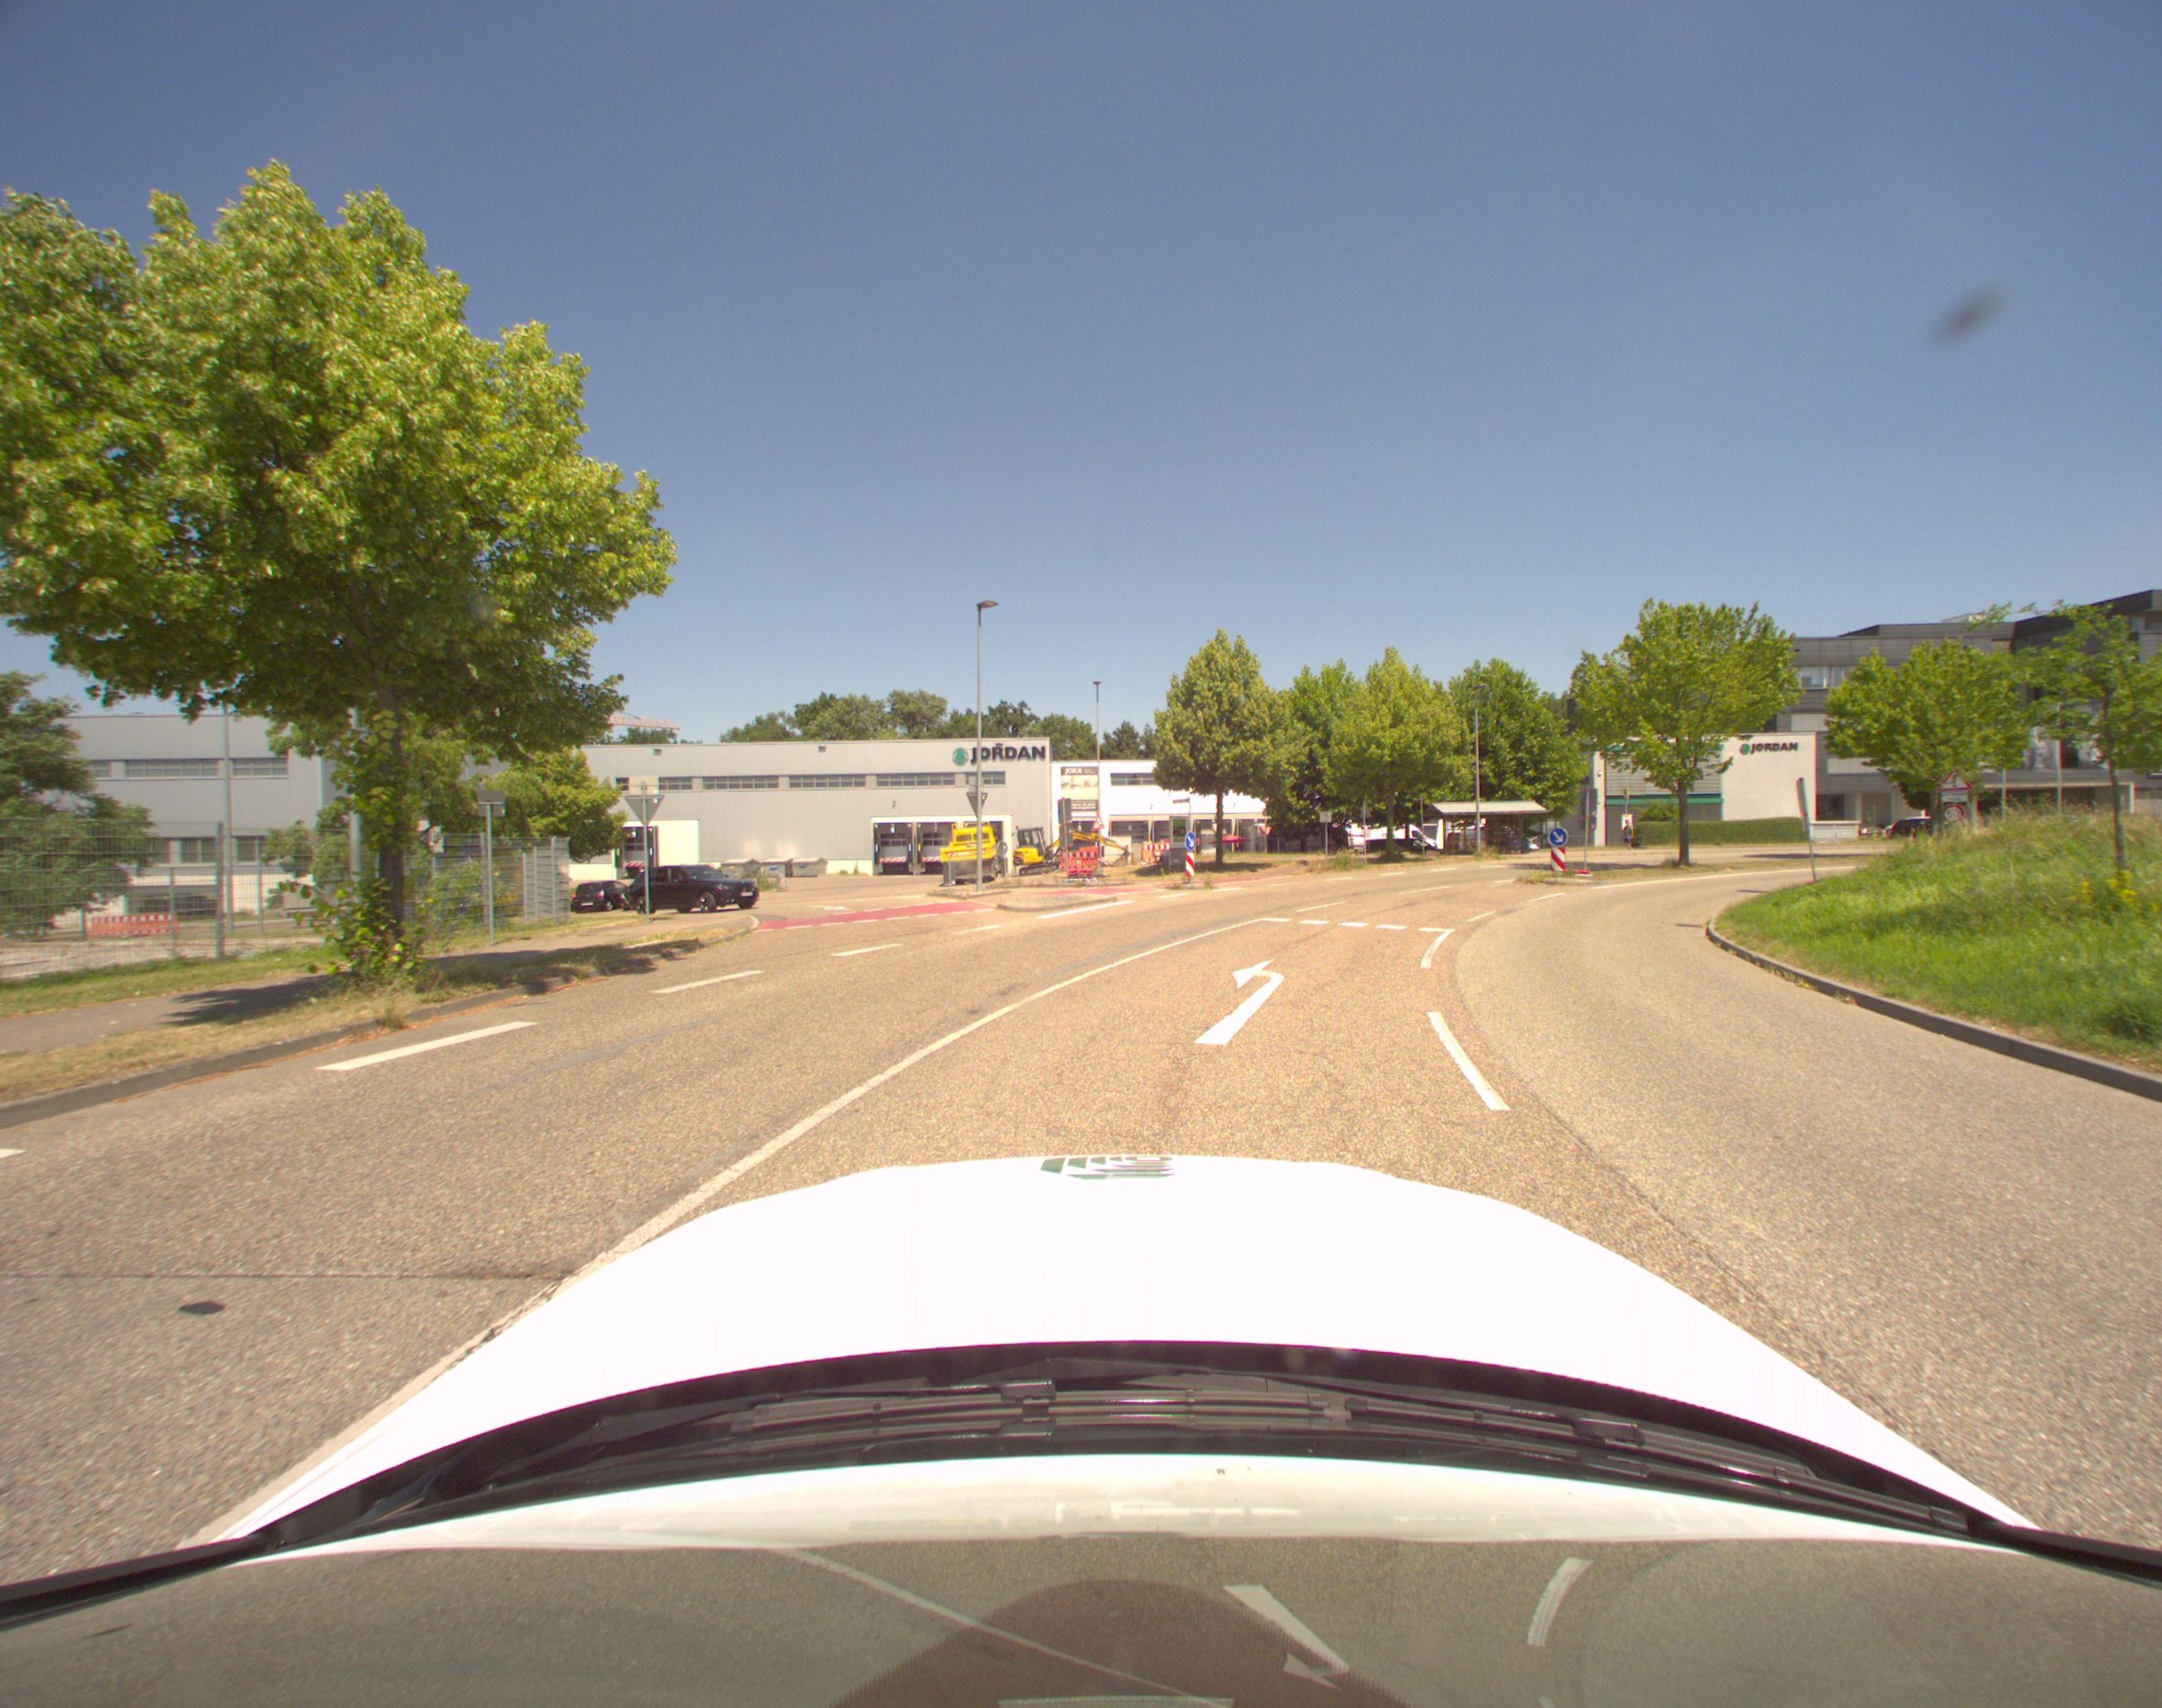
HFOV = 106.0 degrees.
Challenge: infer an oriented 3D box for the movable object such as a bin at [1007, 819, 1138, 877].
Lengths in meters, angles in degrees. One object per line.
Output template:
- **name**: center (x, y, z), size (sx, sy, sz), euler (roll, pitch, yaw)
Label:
- **movable object such as a bin**: center (-0.393, -0.312, 42.950), size (6.524, 2.581, 2.003), euler (-4, 0, 5)

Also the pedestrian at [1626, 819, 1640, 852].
- **pedestrian**: center (28.375, -0.947, 41.838), size (0.524, 1.670, 0.583), euler (0, -1, 28)

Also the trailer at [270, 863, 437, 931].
- **trailer**: center (-35.797, 2.075, 40.260), size (5.490, 2.856, 2.662), euler (-3, 2, -4)

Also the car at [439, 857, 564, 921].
- **car**: center (-28.472, 1.611, 40.334), size (1.987, 2.732, 5.797), euler (-2, 1, -1)

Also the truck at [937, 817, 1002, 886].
- **truck**: center (-5.672, -0.252, 42.353), size (2.582, 3.135, 6.418), euler (-4, 3, -3)

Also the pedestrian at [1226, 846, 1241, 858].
- **pedestrian**: center (9.962, -0.137, 53.072), size (0.856, 0.695, 0.410), euler (-2, 0, 24)

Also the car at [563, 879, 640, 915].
- **car**: center (-23.676, 2.081, 40.345), size (1.618, 1.478, 3.612), euler (-3, 0, -1)

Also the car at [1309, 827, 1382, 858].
- **car**: center (16.714, -0.710, 51.616), size (3.971, 1.728, 1.842), euler (-2, 0, 2)

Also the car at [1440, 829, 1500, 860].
- **car**: center (26.514, -0.596, 55.712), size (1.544, 2.014, 4.250), euler (1, -1, -10)

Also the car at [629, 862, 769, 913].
- **car**: center (-13.148, 1.162, 27.985), size (4.542, 1.635, 1.881), euler (-2, -2, 26)

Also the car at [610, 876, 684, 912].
- **car**: center (-21.295, 1.929, 40.120), size (1.581, 1.507, 3.781), euler (-3, 1, -1)
